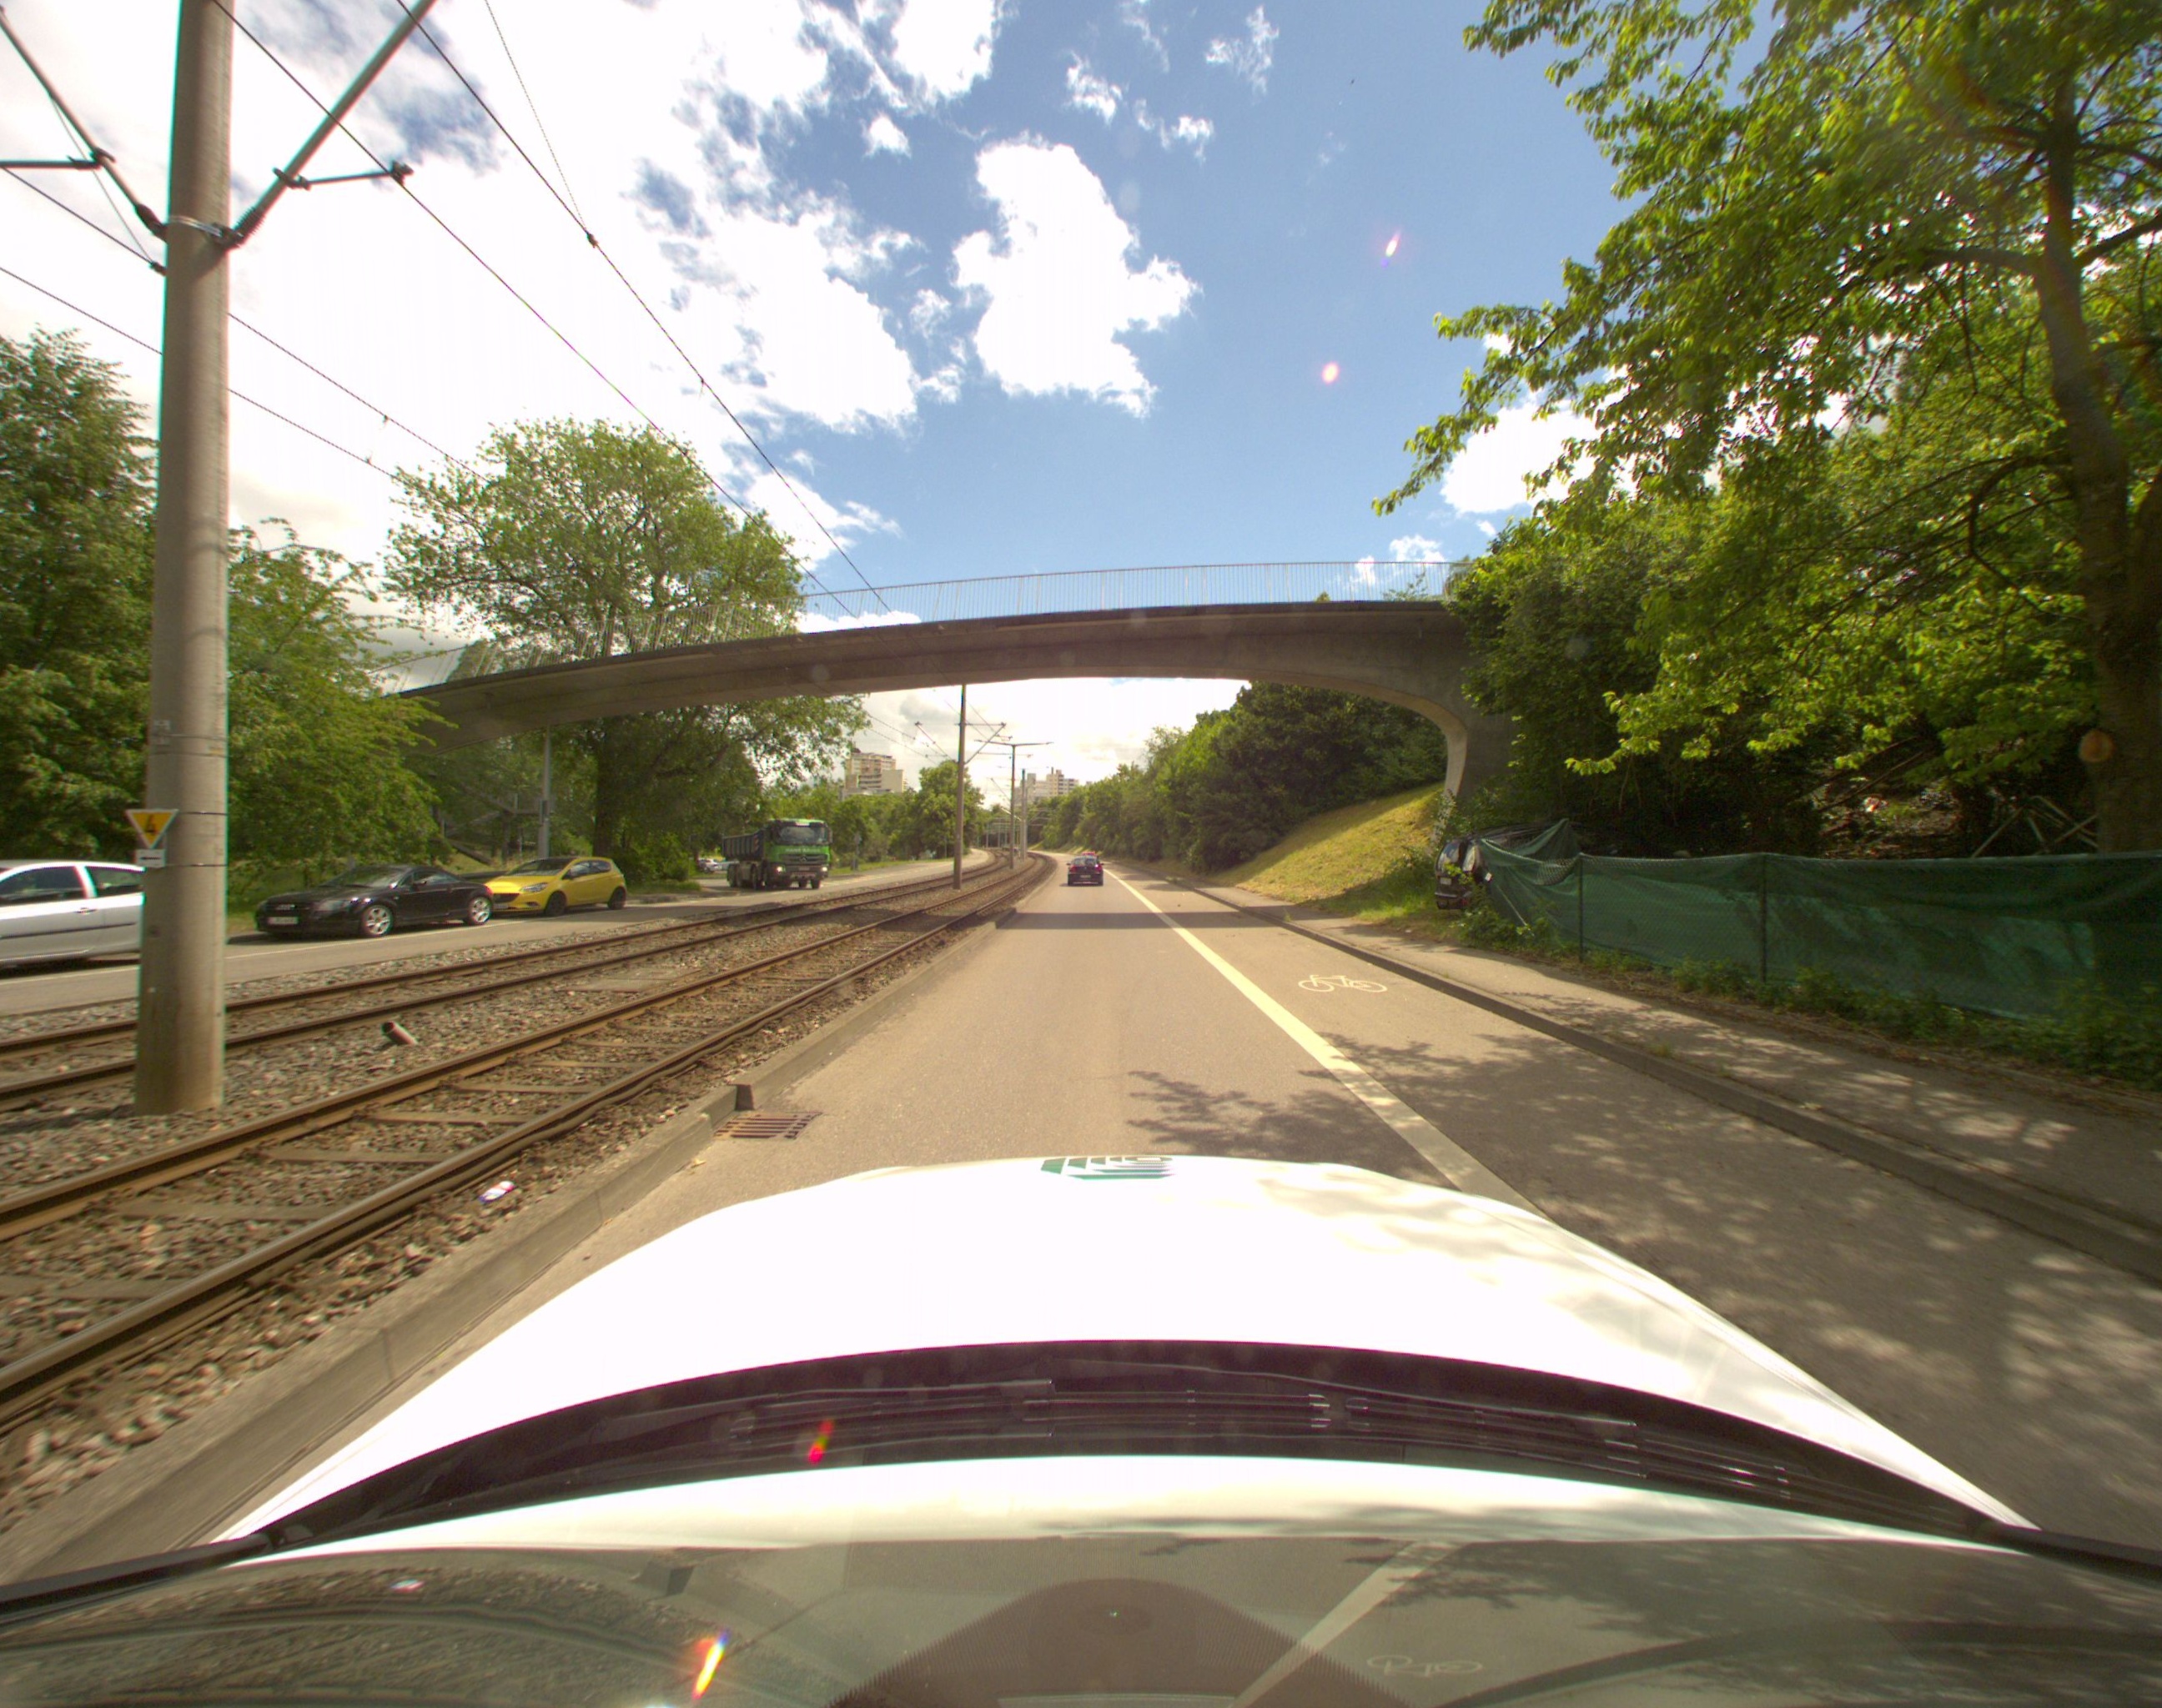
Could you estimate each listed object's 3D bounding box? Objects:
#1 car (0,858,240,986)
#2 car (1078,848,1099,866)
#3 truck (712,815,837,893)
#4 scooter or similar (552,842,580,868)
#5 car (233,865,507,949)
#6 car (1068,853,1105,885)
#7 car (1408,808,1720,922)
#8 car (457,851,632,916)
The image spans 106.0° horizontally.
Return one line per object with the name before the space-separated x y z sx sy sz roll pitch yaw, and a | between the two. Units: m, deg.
car | -13.737 0.818 10.376 1.588 1.494 4.192 2 -1 1
car | 0.709 0.314 70.916 1.617 1.443 3.424 2 -2 4
truck | -14.775 -0.077 38.749 2.895 3.319 8.927 -1 1 -39
scooter or similar | -23.605 0.050 37.322 0.707 1.147 0.788 2 -2 3
car | -13.453 0.937 15.811 1.505 1.360 4.130 2 -1 3
car | 0.275 0.724 40.362 1.702 1.460 3.960 2 0 0
car | 8.796 0.230 15.199 4.504 1.671 2.002 -4 -2 4
car | -13.448 0.748 20.737 1.682 1.450 3.900 2 -2 3
